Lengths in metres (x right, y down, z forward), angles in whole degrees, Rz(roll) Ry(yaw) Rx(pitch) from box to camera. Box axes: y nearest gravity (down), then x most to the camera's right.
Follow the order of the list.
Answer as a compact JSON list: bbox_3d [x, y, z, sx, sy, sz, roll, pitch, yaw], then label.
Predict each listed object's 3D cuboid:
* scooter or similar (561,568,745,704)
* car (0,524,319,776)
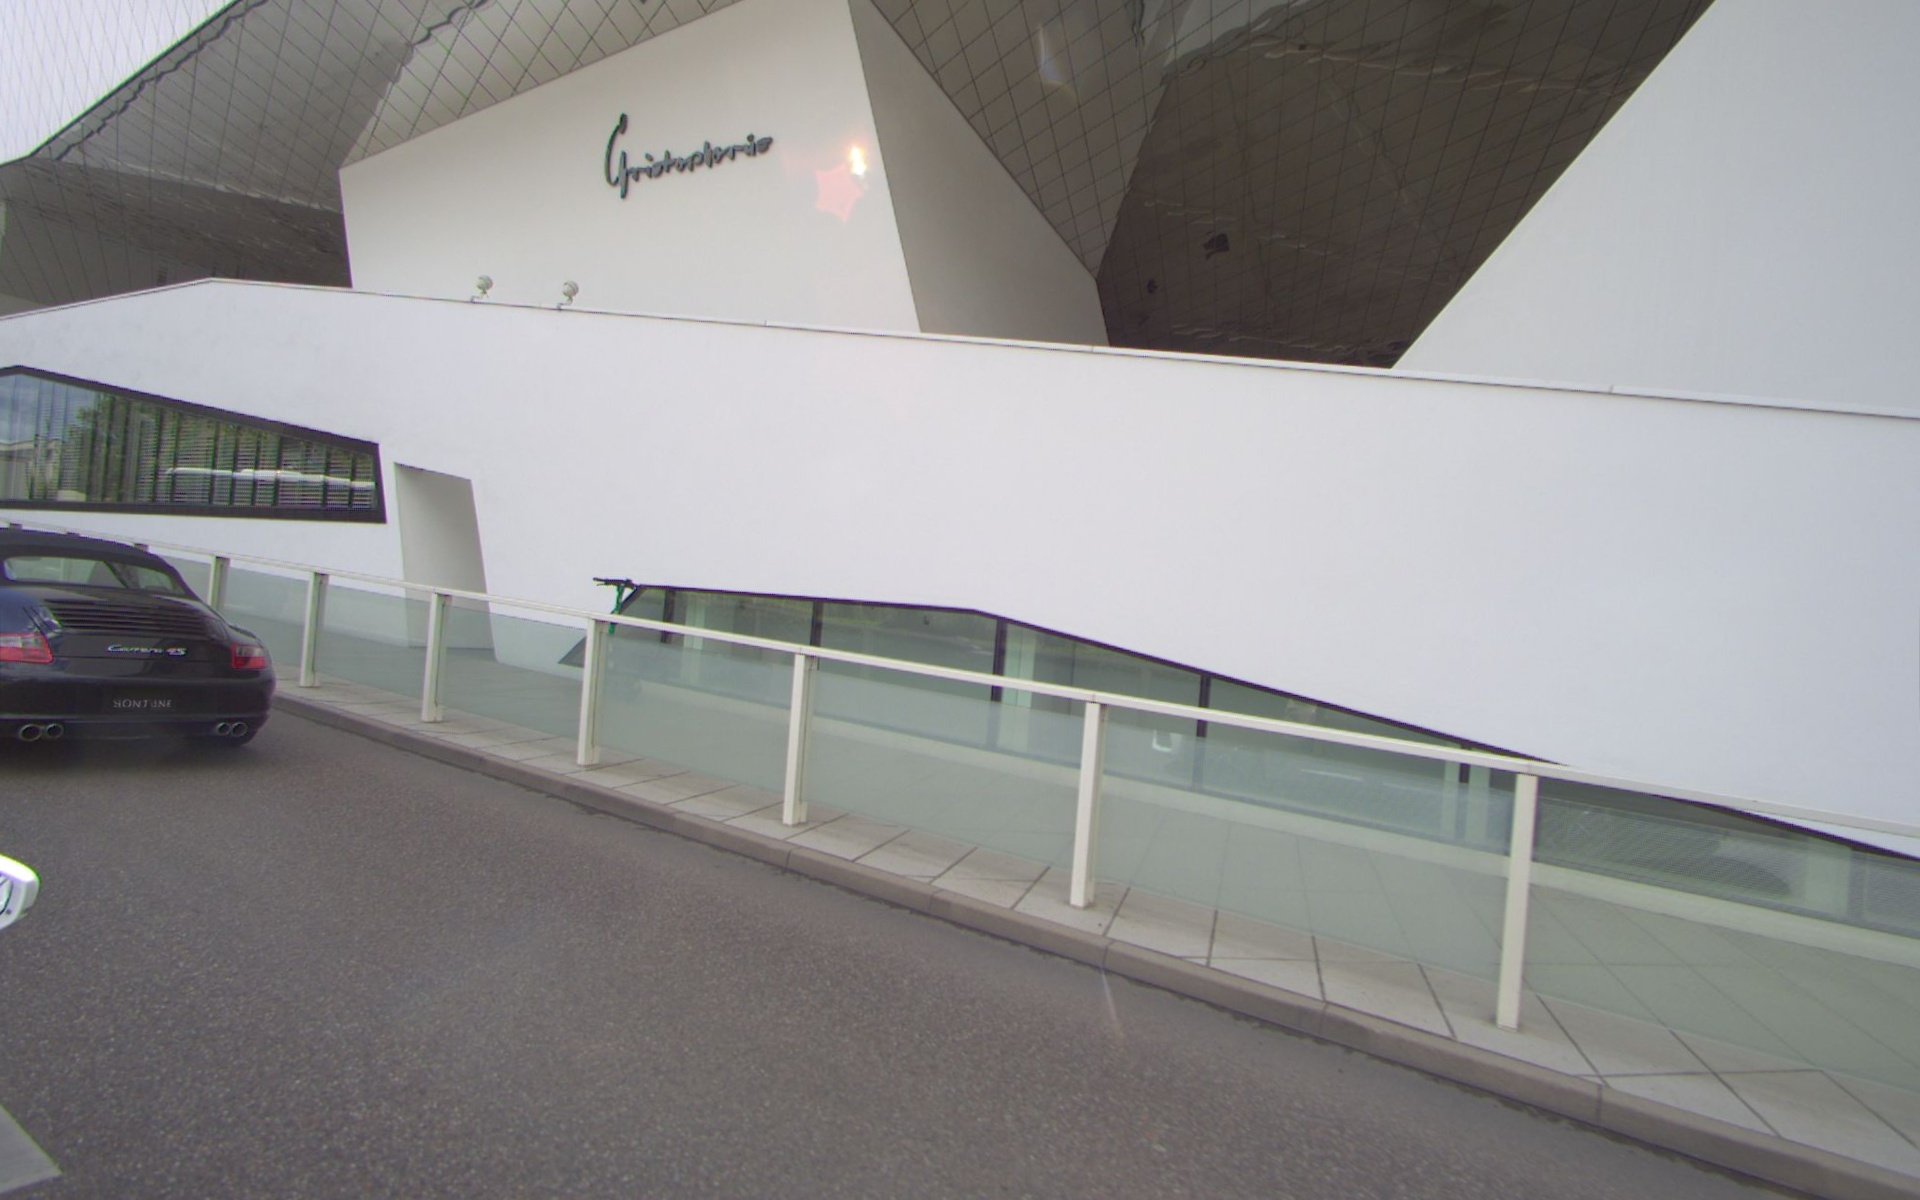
[{"bbox_3d":[-3.359,0.376,10.945,1.920,1.258,0.707,6,0,31],"label":"scooter or similar"},{"bbox_3d":[-6.318,0.153,6.743,4.020,1.290,1.723,6,-2,31],"label":"car"}]
